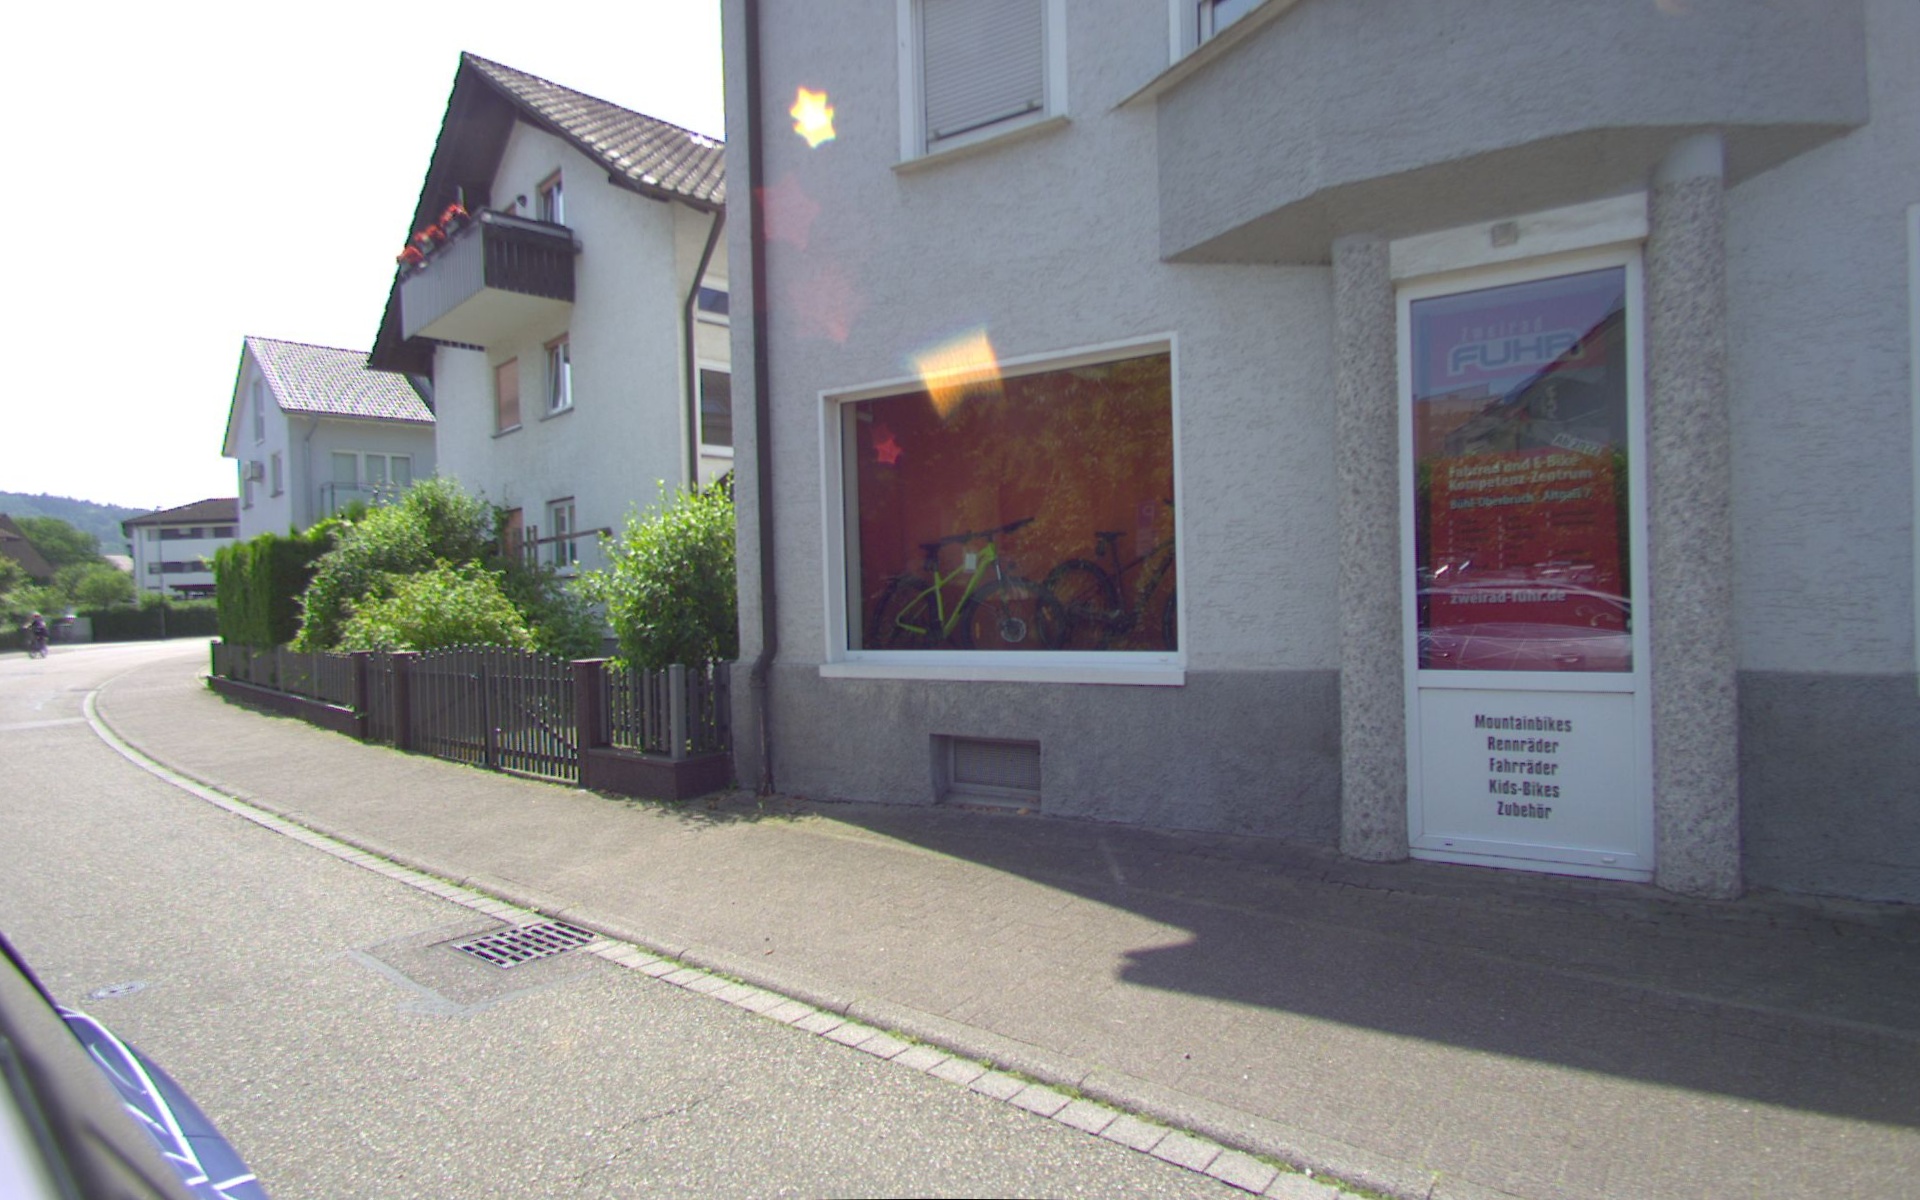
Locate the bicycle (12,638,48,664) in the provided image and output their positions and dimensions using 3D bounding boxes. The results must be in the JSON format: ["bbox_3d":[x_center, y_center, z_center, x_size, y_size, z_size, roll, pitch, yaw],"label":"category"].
[{"bbox_3d":[-34.373,1.877,37.416,0.513,0.911,1.317,-1,0,-22],"label":"bicycle"}]

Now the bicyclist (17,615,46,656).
[{"bbox_3d":[-34.428,1.302,37.542,0.538,1.501,0.799,-1,0,-22],"label":"bicyclist"}]
